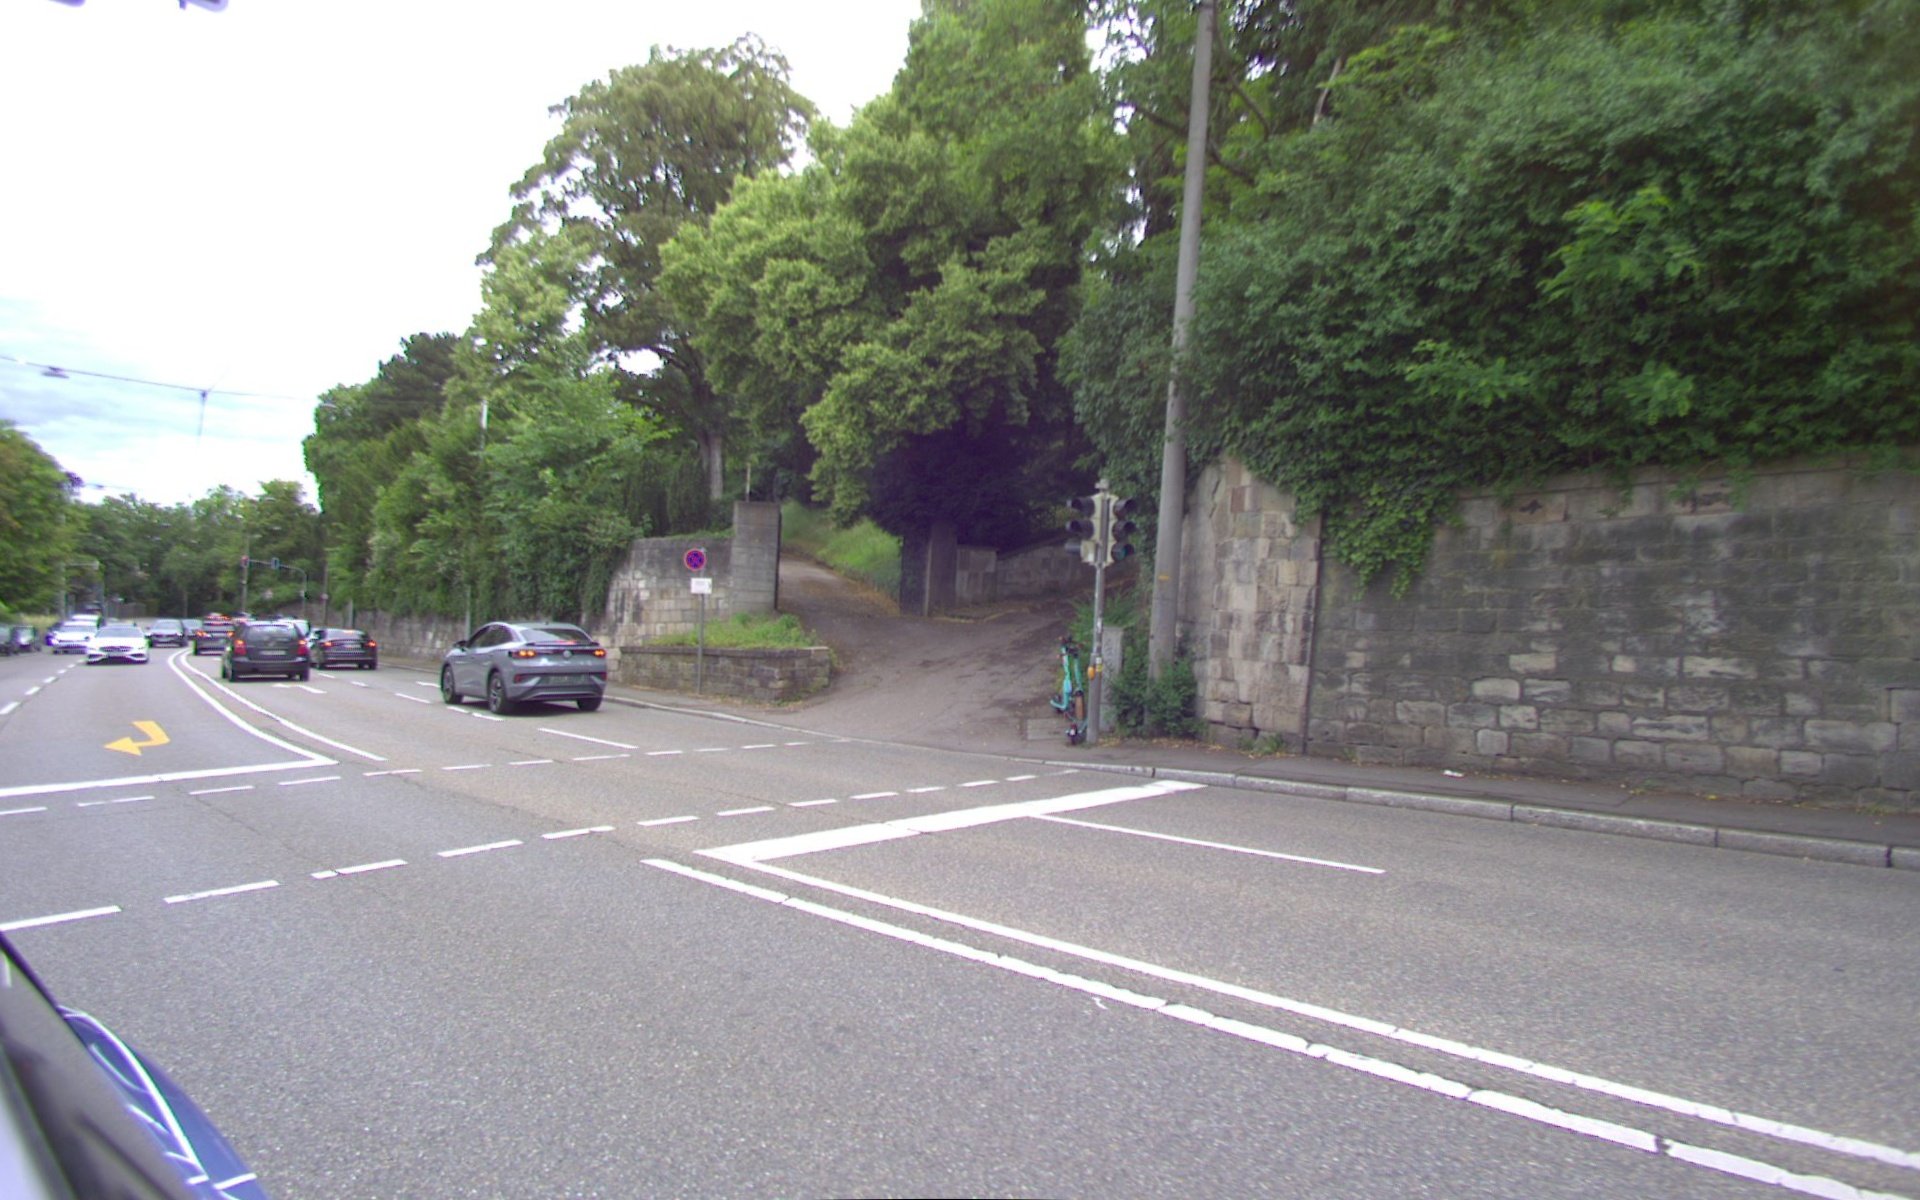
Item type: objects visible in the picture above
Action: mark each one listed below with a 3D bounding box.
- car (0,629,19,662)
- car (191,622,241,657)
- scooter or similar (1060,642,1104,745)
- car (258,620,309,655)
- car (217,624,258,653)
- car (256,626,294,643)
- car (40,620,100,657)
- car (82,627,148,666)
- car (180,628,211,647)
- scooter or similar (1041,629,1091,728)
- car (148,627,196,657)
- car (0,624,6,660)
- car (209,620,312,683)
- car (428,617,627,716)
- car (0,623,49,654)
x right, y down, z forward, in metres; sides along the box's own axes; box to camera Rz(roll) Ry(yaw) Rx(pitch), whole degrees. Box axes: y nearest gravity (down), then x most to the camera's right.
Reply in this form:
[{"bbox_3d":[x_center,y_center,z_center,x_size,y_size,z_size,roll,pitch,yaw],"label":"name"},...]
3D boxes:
[{"bbox_3d":[-45.051,2.077,46.961,1.541,1.433,3.432,6,-4,-36],"label":"car"},{"bbox_3d":[-36.603,1.914,49.768,1.825,1.645,4.370,1,-2,-38],"label":"car"},{"bbox_3d":[1.647,1.241,13.726,0.428,1.246,1.098,-2,2,1],"label":"scooter or similar"},{"bbox_3d":[-37.807,2.100,56.505,1.869,1.862,4.404,3,-3,-39],"label":"car"},{"bbox_3d":[-47.852,2.534,67.089,1.933,1.763,4.891,3,-2,-33],"label":"car"},{"bbox_3d":[-61.188,3.110,90.418,4.456,1.420,1.822,-1,-3,43],"label":"car"},{"bbox_3d":[-44.675,1.933,50.787,4.002,1.785,1.931,-2,-3,45],"label":"car"},{"bbox_3d":[-31.877,1.761,38.187,1.776,1.401,3.532,3,-4,-40],"label":"car"},{"bbox_3d":[-56.420,2.758,74.666,1.807,1.387,4.008,2,-2,-38],"label":"car"},{"bbox_3d":[1.574,1.149,15.208,0.427,1.246,1.352,-3,6,-6],"label":"scooter or similar"},{"bbox_3d":[-47.332,2.488,60.748,1.929,1.753,4.004,2,-3,-42],"label":"car"},{"bbox_3d":[-40.287,1.711,41.188,1.693,1.483,4.046,3,-3,-38],"label":"car"},{"bbox_3d":[-18.924,1.379,27.307,1.733,1.578,3.683,4,-4,-43],"label":"car"},{"bbox_3d":[-8.162,1.196,18.873,1.970,1.620,4.481,4,-4,-43],"label":"car"},{"bbox_3d":[-48.051,1.941,51.587,1.746,1.409,4.563,4,-3,-34],"label":"car"}]
